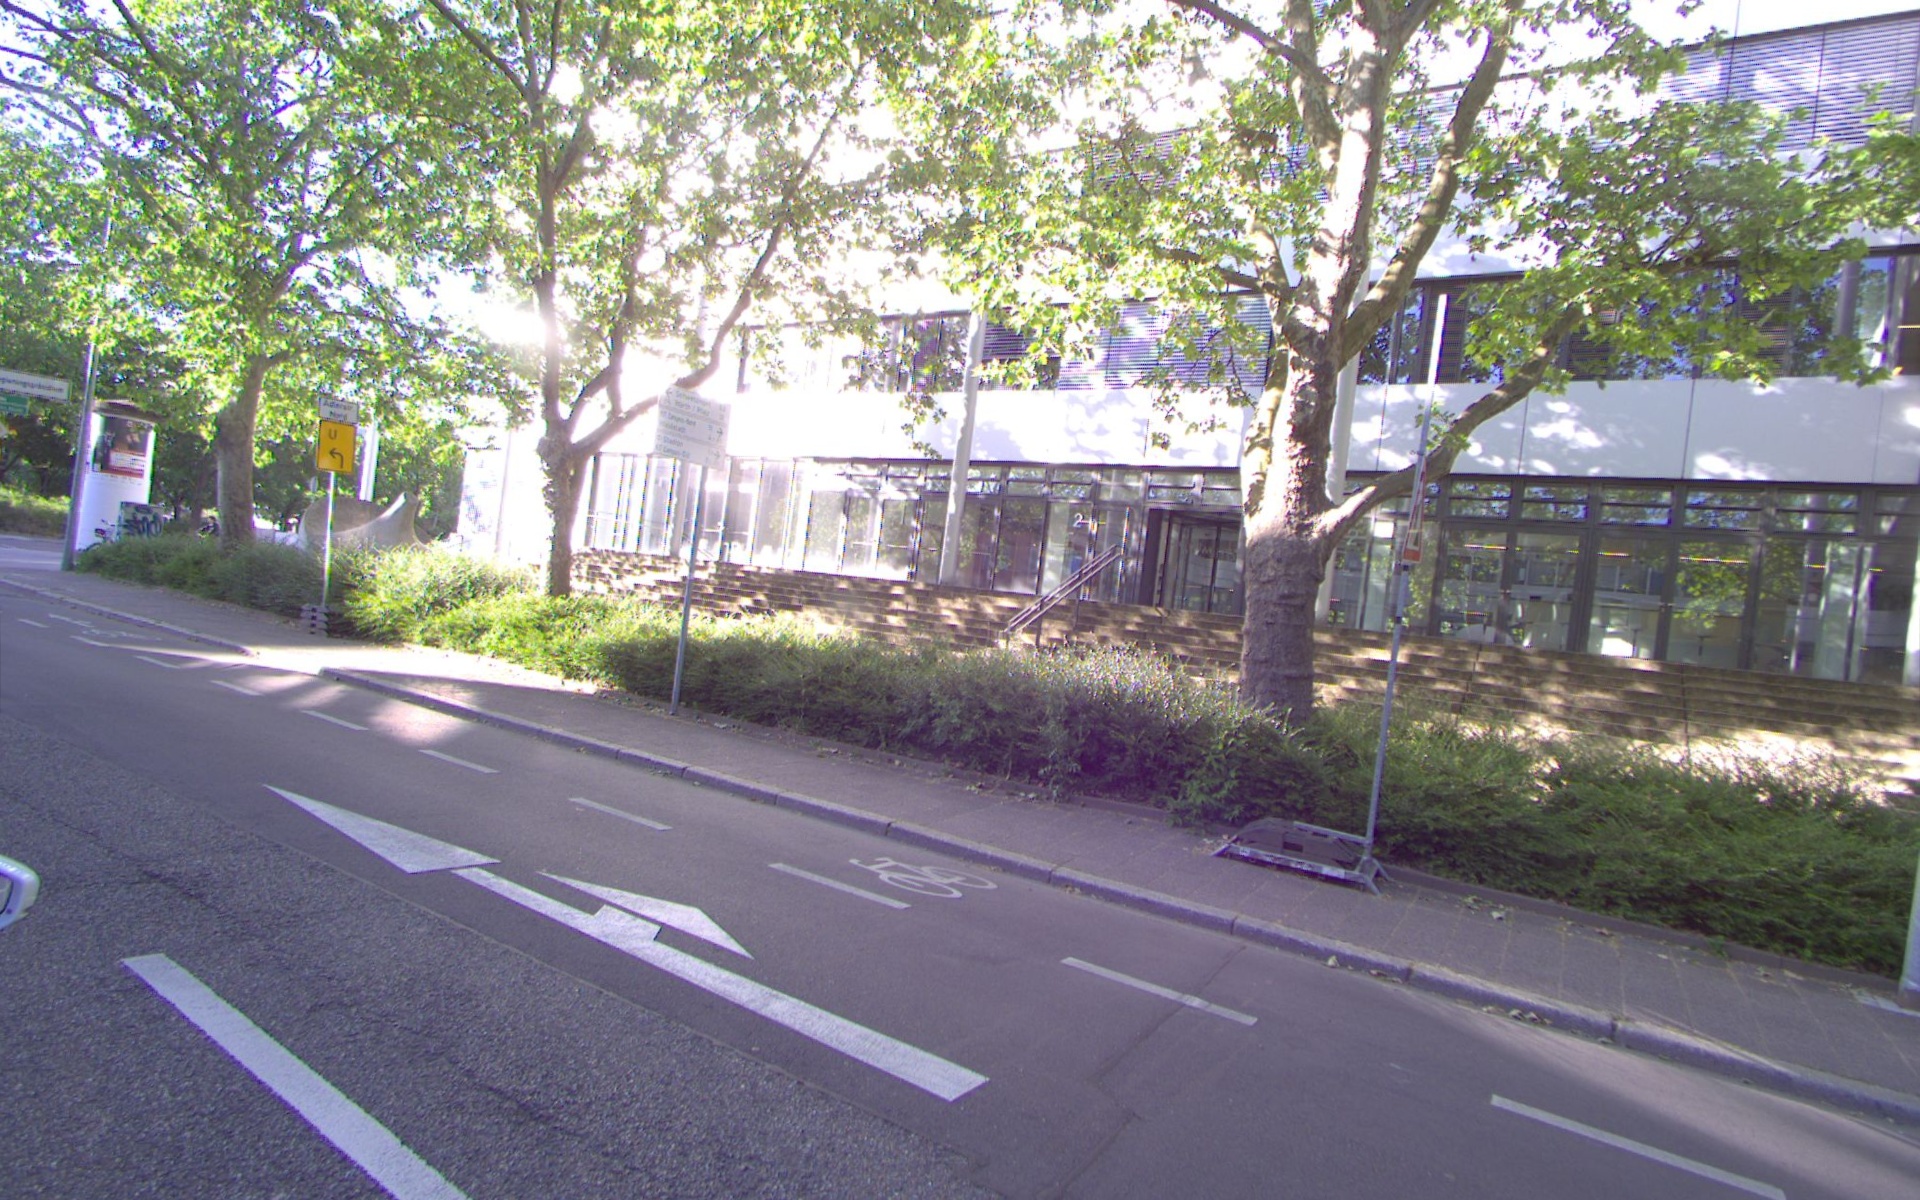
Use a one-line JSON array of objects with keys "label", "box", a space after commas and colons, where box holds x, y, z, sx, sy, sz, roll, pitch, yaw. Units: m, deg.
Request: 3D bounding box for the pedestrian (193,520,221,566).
[{"label": "pedestrian", "box": [-31.377, -2.381, 41.928, 0.620, 1.805, 0.620, 7, 0, 34]}]

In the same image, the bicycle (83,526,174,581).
[{"label": "bicycle", "box": [-19.047, -1.052, 23.068, 0.529, 1.049, 1.418, 7, -1, 28]}]

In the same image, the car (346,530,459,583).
[{"label": "car", "box": [-25.857, -1.998, 46.759, 1.969, 1.805, 3.998, 7, -1, 37]}]
